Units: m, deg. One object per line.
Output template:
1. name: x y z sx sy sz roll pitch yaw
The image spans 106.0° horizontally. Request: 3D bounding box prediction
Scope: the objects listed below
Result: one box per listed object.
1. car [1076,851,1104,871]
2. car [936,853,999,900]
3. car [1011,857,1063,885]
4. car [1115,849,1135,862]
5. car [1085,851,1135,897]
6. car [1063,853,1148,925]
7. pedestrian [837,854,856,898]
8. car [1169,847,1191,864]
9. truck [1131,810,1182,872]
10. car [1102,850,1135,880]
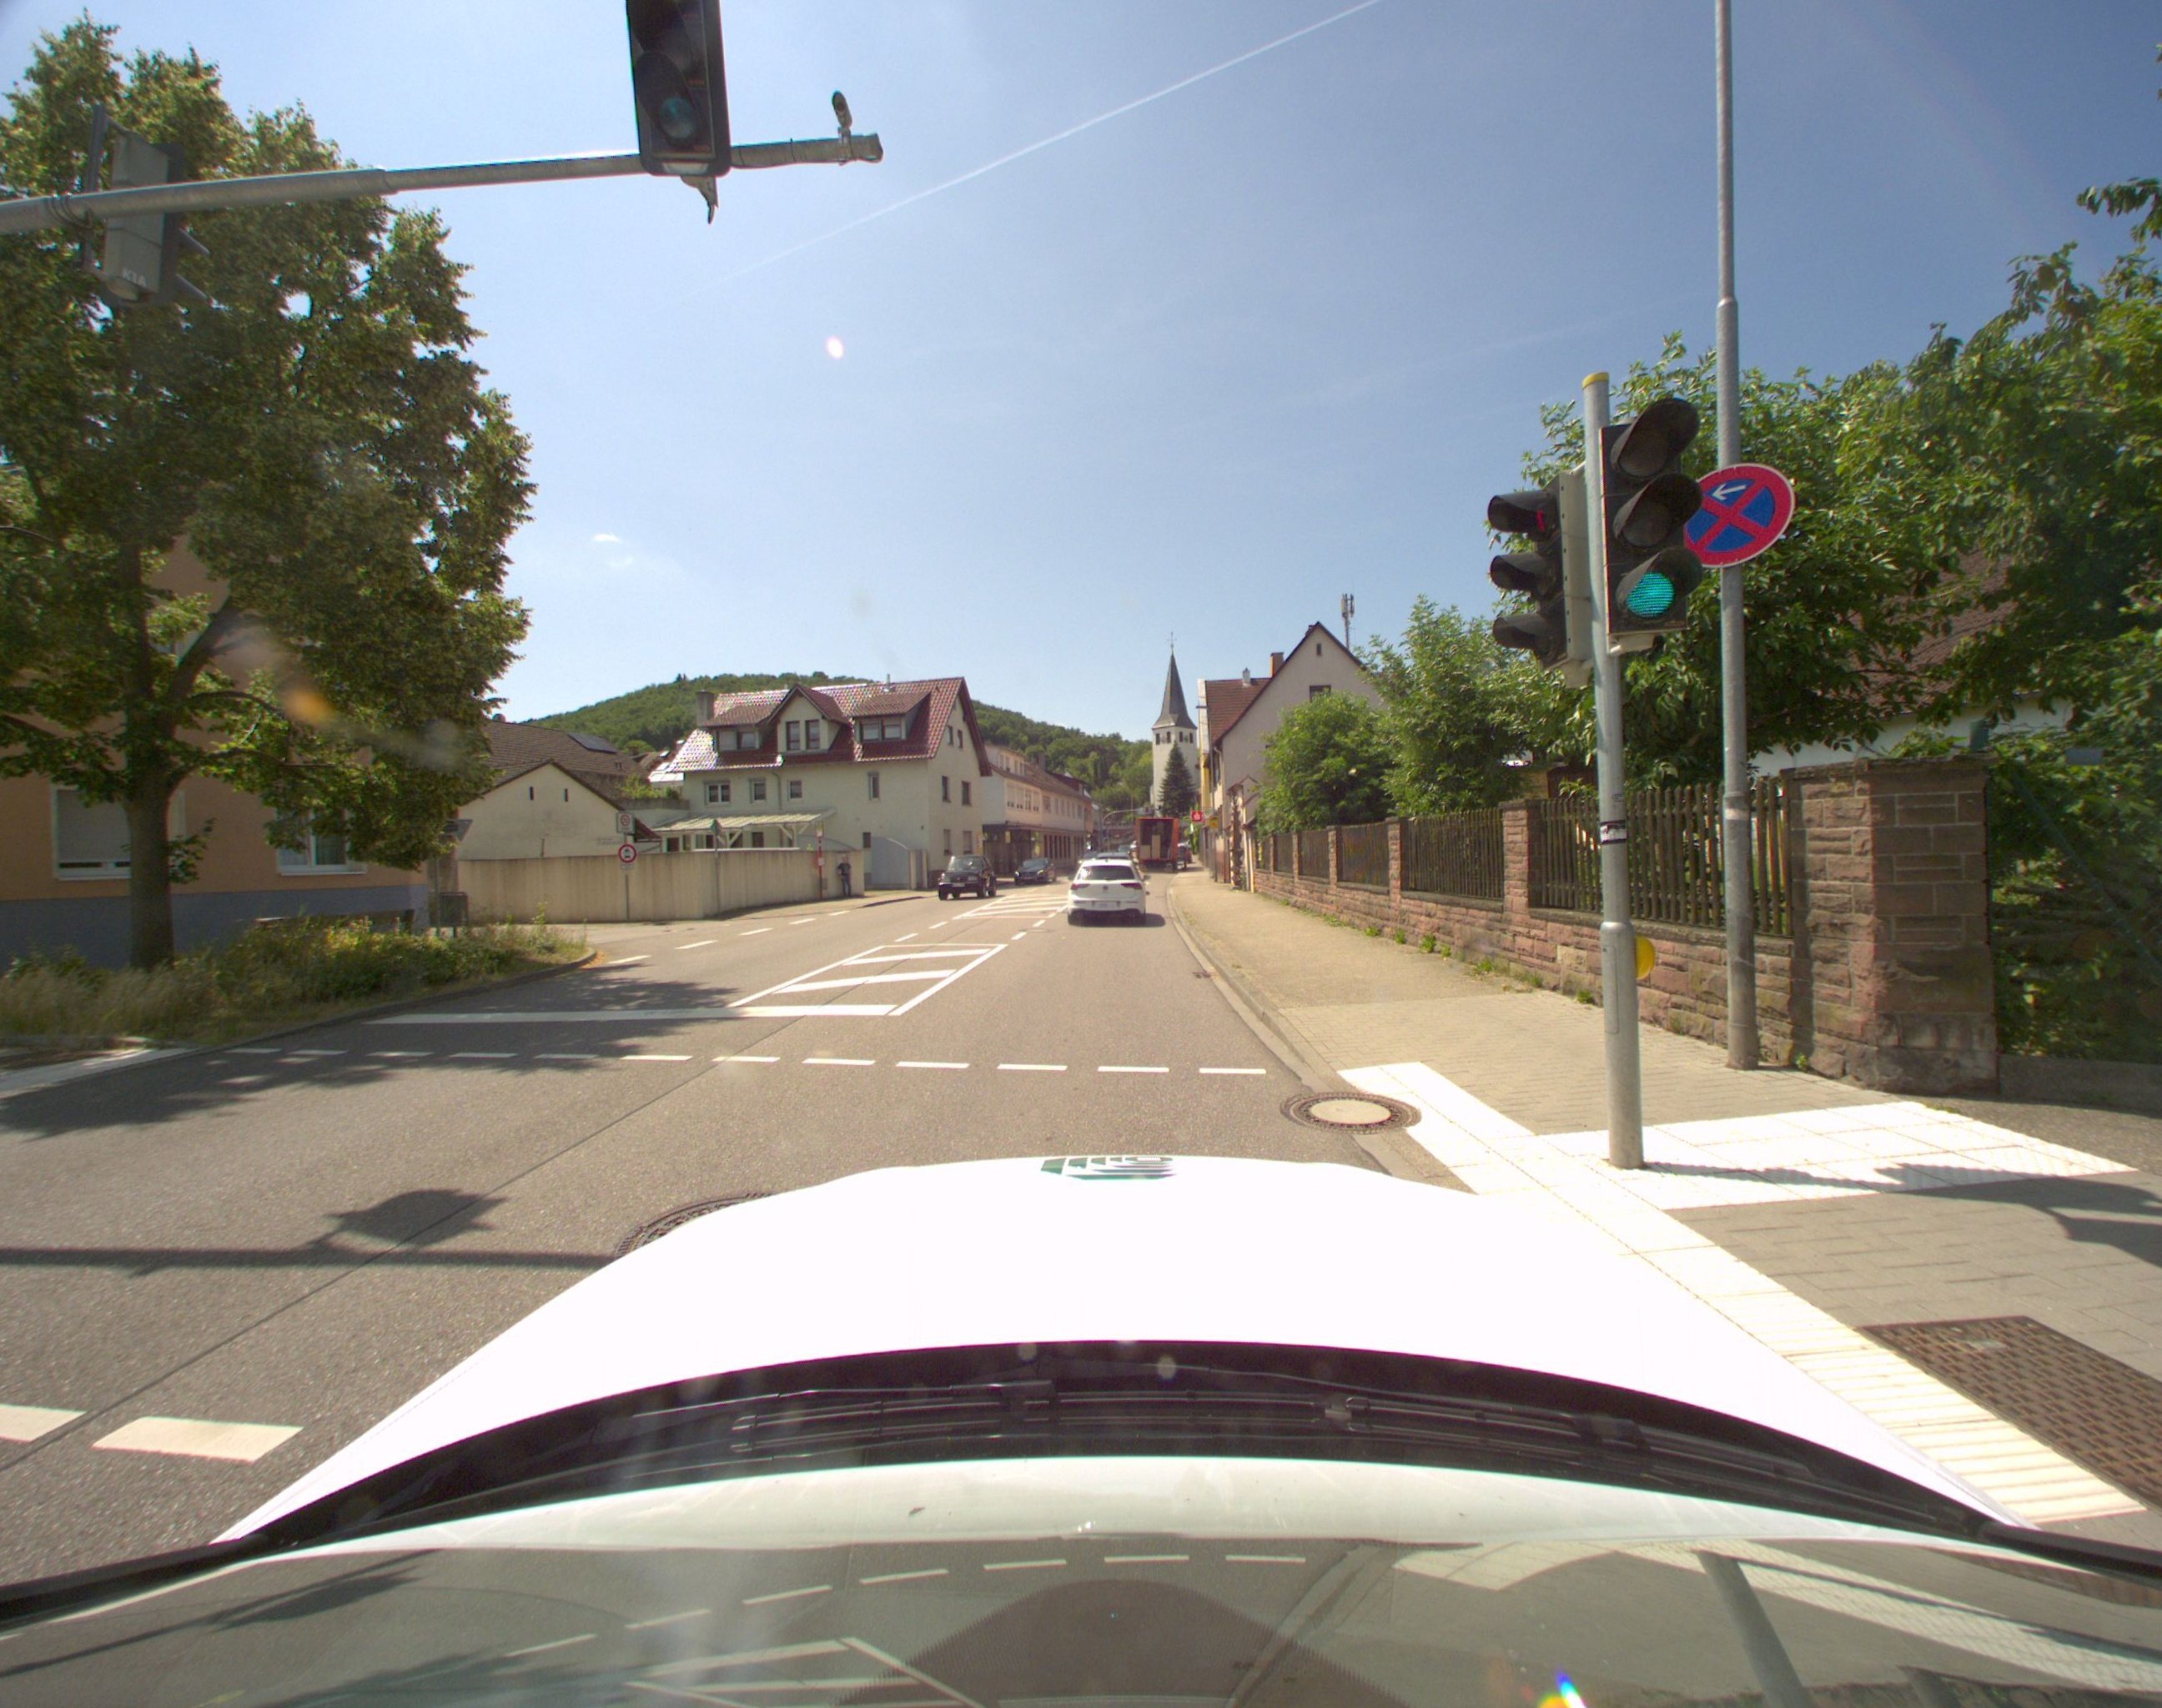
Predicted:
1. car: 0.798 0.592 69.814 1.785 1.508 4.142 -3 -1 8
2. car: -4.259 0.806 31.146 1.732 1.651 3.670 -2 0 2
3. car: -2.436 0.939 46.308 1.850 1.442 4.231 -3 -1 12
4. car: 5.409 0.208 99.563 1.852 1.442 4.228 -3 -1 10
5. car: 1.220 0.761 32.541 1.807 1.629 4.004 -3 -1 3
6. car: 0.644 0.769 19.471 1.807 1.519 4.004 -1 -1 3
7. pedestrian: -9.463 0.878 32.829 0.430 1.764 0.560 -2 0 22
8. car: 9.349 0.175 76.969 1.807 1.519 4.004 -3 -1 3
9. truck: 5.804 -0.897 62.036 3.350 4.170 9.534 -3 -1 6
10. car: 2.275 0.661 48.488 1.807 1.629 4.004 -3 -1 3
